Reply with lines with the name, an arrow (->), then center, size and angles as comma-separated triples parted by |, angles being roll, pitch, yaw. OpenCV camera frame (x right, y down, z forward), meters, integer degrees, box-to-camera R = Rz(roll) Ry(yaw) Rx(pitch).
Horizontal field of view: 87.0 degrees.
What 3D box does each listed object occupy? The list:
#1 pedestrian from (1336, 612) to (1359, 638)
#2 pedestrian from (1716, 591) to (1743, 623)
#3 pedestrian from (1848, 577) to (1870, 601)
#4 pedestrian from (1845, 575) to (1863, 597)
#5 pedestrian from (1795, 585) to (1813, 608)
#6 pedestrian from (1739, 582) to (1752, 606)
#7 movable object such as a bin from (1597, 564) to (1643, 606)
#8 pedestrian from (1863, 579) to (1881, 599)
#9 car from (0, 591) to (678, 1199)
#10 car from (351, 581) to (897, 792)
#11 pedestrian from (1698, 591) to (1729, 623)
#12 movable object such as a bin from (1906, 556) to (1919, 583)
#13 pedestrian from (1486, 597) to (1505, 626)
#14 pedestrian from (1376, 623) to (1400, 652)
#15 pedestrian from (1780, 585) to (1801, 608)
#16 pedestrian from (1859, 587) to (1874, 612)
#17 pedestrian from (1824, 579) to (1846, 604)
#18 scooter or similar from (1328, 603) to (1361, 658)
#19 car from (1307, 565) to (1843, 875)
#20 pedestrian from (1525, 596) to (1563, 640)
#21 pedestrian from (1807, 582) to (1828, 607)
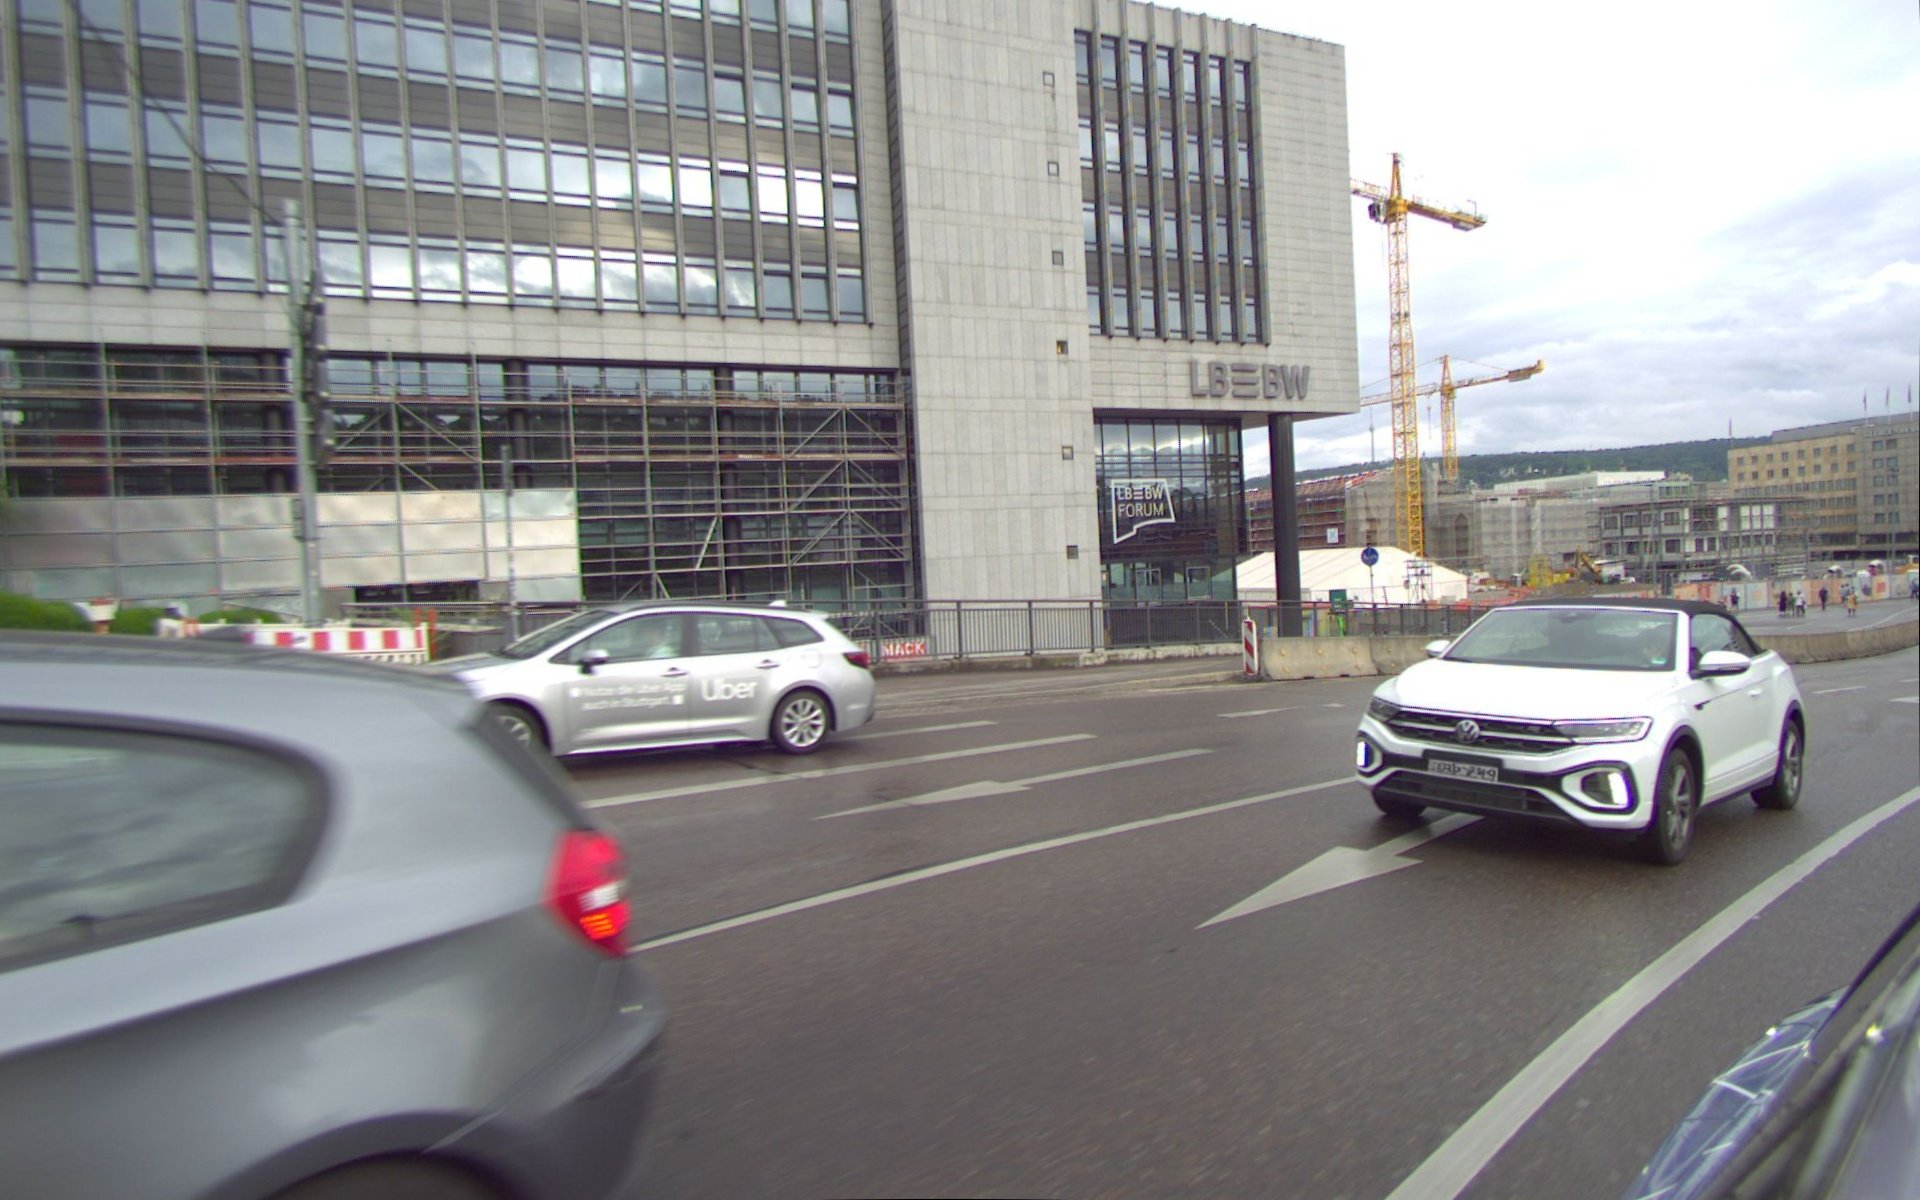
pedestrian -> 24.671, 1.565, 64.460 | 0.987, 1.572, 0.871 | -3, 1, -14
pedestrian -> 39.330, 0.352, 51.729 | 0.788, 1.594, 0.735 | -3, 0, -16
pedestrian -> 69.760, -0.851, 78.517 | 0.913, 1.872, 0.821 | -3, 1, -7
pedestrian -> 70.836, -1.109, 80.185 | 0.750, 1.675, 0.650 | -2, 1, -7
pedestrian -> 59.430, -0.234, 71.288 | 0.867, 1.541, 0.612 | -3, 1, -24
pedestrian -> 59.070, -0.439, 76.108 | 0.485, 1.770, 0.569 | -3, 1, -25
movable object such as a bin -> 57.868, -1.335, 88.718 | 4.153, 3.451, 1.942 | -3, 1, -36
pedestrian -> 71.566, -0.883, 79.395 | 0.750, 1.572, 0.650 | -3, 1, -7
car -> -2.497, 0.749, 1.046 | 1.739, 1.461, 3.937 | -1, 0, 44
car -> -2.971, 0.626, 9.467 | 4.530, 1.469, 1.705 | -2, 0, -36
pedestrian -> 39.077, 0.346, 52.512 | 0.932, 1.613, 0.865 | -3, 1, -16
movable object such as a bin -> 96.289, -3.054, 99.631 | 4.065, 2.567, 1.993 | -2, 1, 12
pedestrian -> 31.951, 0.689, 60.401 | 0.739, 1.657, 0.587 | -2, 1, 5
pedestrian -> 26.239, 2.310, 62.094 | 0.987, 1.657, 0.871 | -3, 1, -14
pedestrian -> 59.023, -0.243, 71.929 | 0.987, 1.572, 0.718 | -3, 1, -24
pedestrian -> 61.584, -0.007, 68.751 | 0.893, 1.653, 0.647 | -3, 1, -43
pedestrian -> 65.717, -0.615, 75.974 | 0.987, 1.840, 0.870 | -3, 1, -24
scooter or similar -> 8.392, 0.655, 22.094 | 0.561, 1.177, 0.350 | -2, 0, -29
car -> 4.517, 0.598, 7.202 | 4.143, 1.568, 1.968 | -1, 0, -39
pedestrian -> 22.755, 0.680, 39.461 | 1.038, 1.673, 0.733 | -2, 0, -16
pedestrian -> 60.089, -0.398, 70.909 | 0.873, 1.744, 0.781 | -3, 1, -24
